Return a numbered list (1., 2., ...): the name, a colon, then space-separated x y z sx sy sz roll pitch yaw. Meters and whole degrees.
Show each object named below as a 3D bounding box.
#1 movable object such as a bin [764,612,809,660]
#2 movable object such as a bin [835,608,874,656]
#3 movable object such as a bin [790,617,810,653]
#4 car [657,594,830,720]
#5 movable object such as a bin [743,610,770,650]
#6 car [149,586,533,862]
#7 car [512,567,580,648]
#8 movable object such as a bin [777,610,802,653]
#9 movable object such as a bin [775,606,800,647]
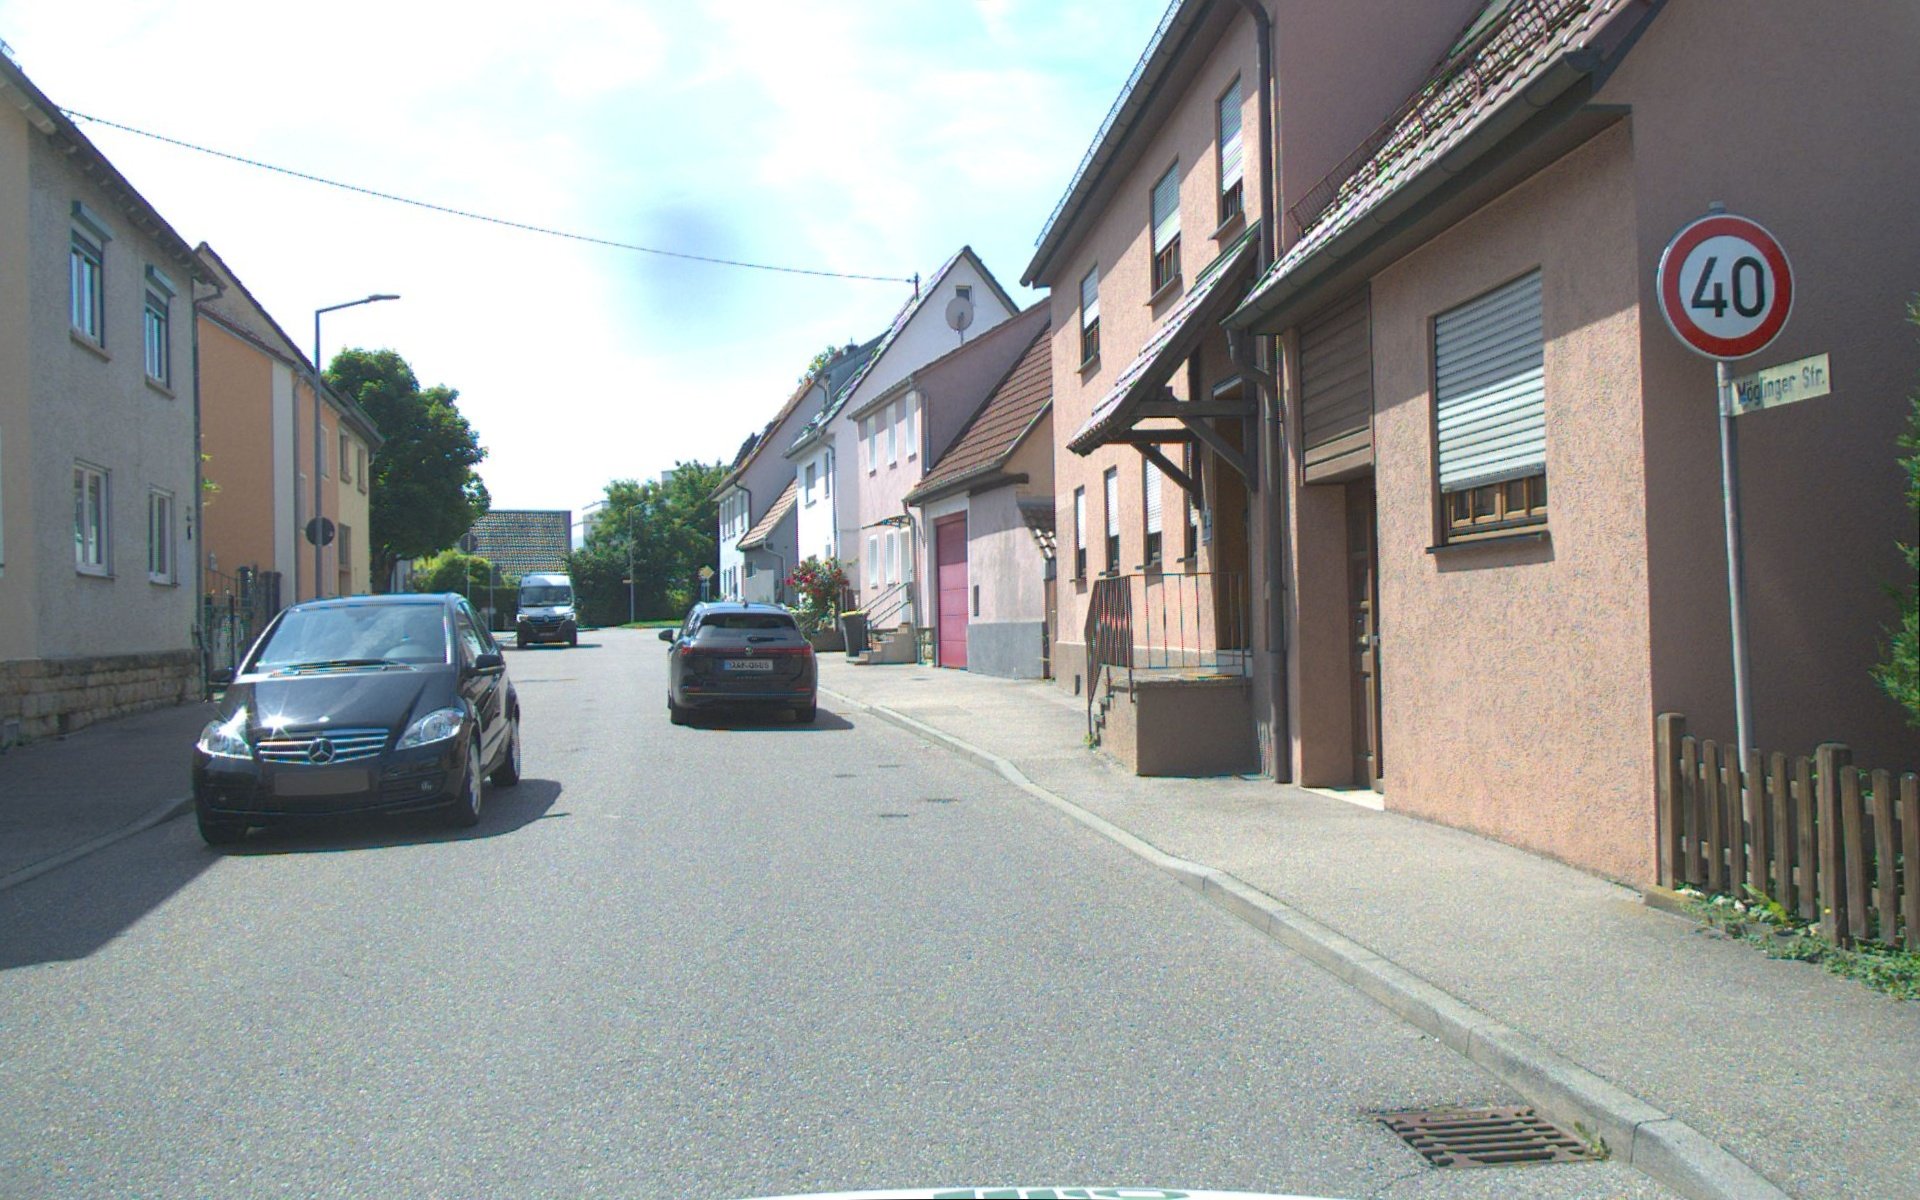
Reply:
1. movable object such as a bin: -4.238 0.868 40.290 0.862 1.093 0.868 -5 1 -18
2. movable object such as a bin: -2.522 0.749 39.399 0.668 1.068 0.831 -5 1 -18
3. movable object such as a bin: -4.568 0.993 47.257 0.495 1.011 0.440 -1 0 -14
4. car: -2.908 0.694 21.423 1.809 1.445 4.667 0 -1 -13
5. movable object such as a bin: -6.056 0.880 49.273 0.667 1.175 0.816 0 -1 -18
6. car: -4.233 0.734 11.984 1.766 1.583 4.062 -2 0 -9
7. car: -14.352 0.250 57.566 2.077 2.607 5.808 -1 0 -13
8. movable object such as a bin: -4.995 0.917 48.436 0.653 1.215 0.586 -1 0 -14
9. movable object such as a bin: -5.116 0.779 49.138 0.653 1.215 0.658 -1 0 -14
